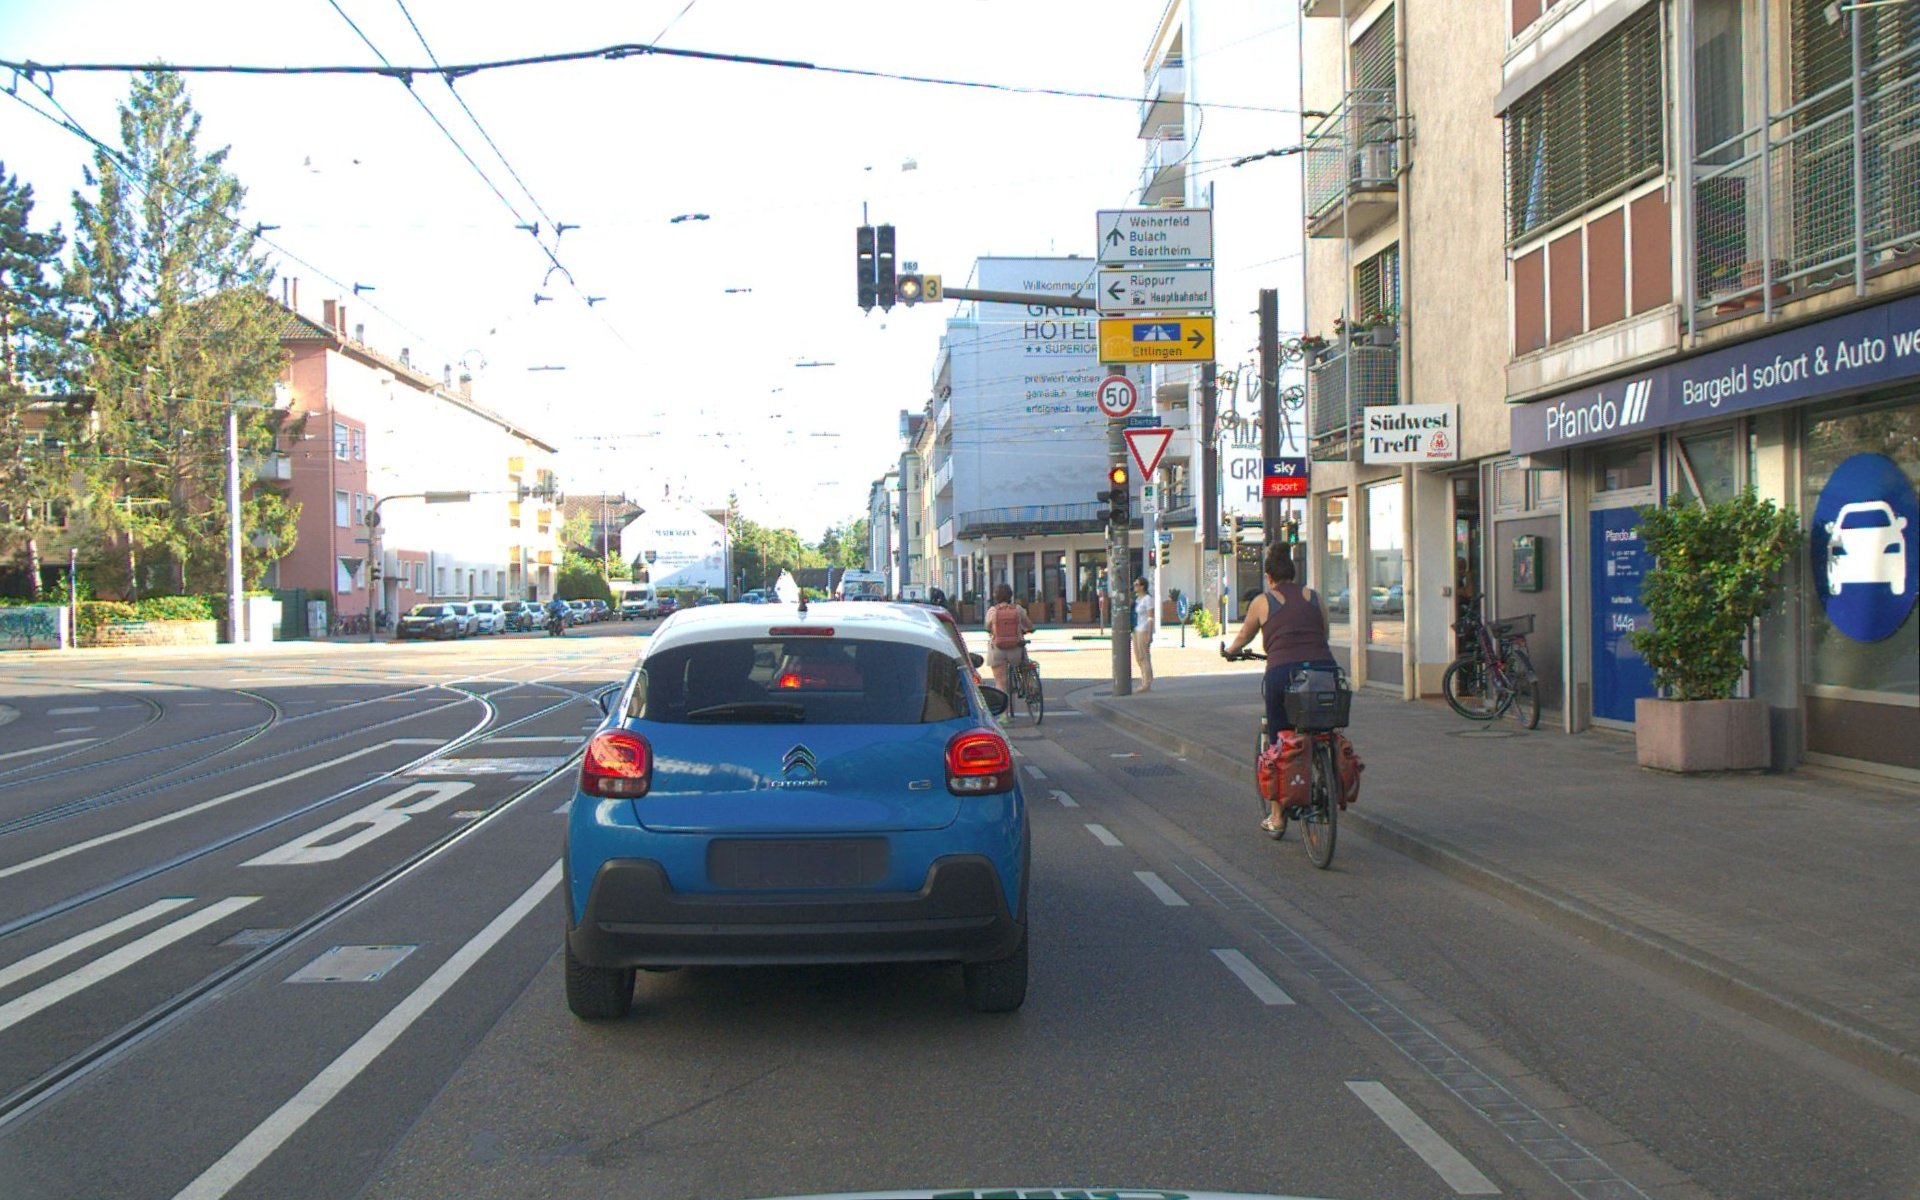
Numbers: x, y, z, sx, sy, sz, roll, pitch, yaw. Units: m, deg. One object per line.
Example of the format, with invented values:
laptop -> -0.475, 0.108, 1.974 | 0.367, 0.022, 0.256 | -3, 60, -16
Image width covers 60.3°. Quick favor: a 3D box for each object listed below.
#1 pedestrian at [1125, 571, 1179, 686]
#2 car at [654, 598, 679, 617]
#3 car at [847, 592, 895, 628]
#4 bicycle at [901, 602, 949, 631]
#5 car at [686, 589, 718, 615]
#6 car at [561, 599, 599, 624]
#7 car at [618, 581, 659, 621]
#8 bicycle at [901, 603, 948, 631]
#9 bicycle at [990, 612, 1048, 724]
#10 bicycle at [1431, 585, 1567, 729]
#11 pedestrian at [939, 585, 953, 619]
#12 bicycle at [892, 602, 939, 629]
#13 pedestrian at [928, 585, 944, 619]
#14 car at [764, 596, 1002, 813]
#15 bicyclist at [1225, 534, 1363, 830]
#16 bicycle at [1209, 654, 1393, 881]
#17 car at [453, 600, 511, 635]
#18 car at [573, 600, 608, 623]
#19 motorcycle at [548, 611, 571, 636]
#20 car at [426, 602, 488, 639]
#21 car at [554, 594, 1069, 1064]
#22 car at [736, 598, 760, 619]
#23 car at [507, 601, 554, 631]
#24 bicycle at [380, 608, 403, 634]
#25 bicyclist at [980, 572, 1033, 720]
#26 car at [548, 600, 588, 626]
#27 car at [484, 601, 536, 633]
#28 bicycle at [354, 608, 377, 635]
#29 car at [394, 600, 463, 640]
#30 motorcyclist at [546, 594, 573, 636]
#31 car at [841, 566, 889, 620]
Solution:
pedestrian -> 2.827, 0.415, 24.402 | 0.735, 1.663, 0.740 | -1, 0, 5
car -> -25.569, 0.654, 144.160 | 1.913, 1.545, 3.995 | -1, 0, -6
car -> -3.673, 0.389, 67.734 | 1.752, 1.383, 3.909 | -1, 0, -6
bicycle -> -1.391, 0.646, 65.773 | 1.868, 1.083, 0.641 | -1, 0, -8
car -> -17.358, 0.138, 111.411 | 1.967, 1.656, 5.045 | -1, 0, -7
car -> -24.846, 0.756, 108.258 | 1.913, 1.545, 3.995 | -1, 0, -6
car -> -23.219, 0.076, 119.572 | 2.446, 2.759, 5.828 | -1, 0, -7
bicycle -> -1.443, 0.671, 67.078 | 1.868, 1.083, 0.641 | -1, 0, -8
bicycle -> 0.722, 0.816, 20.630 | 0.601, 1.287, 1.910 | -1, 0, -1
bicycle -> 5.114, 0.507, 15.813 | 0.627, 1.287, 1.910 | -1, 0, -1
pedestrian -> -0.582, 0.091, 69.987 | 0.459, 1.445, 0.525 | -1, 0, -13
bicycle -> -1.858, 0.648, 68.265 | 1.868, 1.083, 0.641 | -1, 0, -8
pedestrian -> -1.007, 0.096, 70.232 | 0.514, 1.445, 0.547 | -1, 0, 19
car -> -0.678, 0.727, 13.553 | 1.647, 1.488, 3.997 | 1, 0, -4
bicyclist -> 1.946, 0.462, 9.717 | 0.604, 1.658, 0.759 | -1, 0, -3
bicycle -> 1.956, 0.920, 9.734 | 0.604, 1.123, 1.885 | -1, 0, -3
car -> -22.753, 0.824, 78.856 | 1.913, 1.545, 3.995 | -1, 0, -6
car -> -25.562, 0.796, 114.588 | 1.913, 1.545, 3.995 | -1, 0, -6
motorcycle -> -16.223, 0.943, 67.015 | 0.738, 0.993, 2.092 | -1, 0, -9
car -> -22.551, 0.880, 74.250 | 1.913, 1.545, 4.040 | -1, 0, -6
car -> -0.612, 0.731, 7.344 | 1.647, 1.488, 3.997 | 1, 0, -4
car -> -21.805, 0.822, 170.487 | 2.293, 2.074, 5.044 | -1, 0, -6
car -> -23.760, 0.861, 91.562 | 1.913, 1.545, 3.995 | -1, 0, -6
bicycle -> -25.669, 0.944, 74.687 | 0.597, 1.101, 1.908 | -1, 0, -7
bicyclist -> 0.569, 0.553, 20.590 | 0.588, 1.776, 1.084 | -1, 0, -1
car -> -24.405, 0.814, 102.984 | 1.913, 1.545, 3.995 | -1, 0, -6
car -> -23.230, 0.844, 85.513 | 1.913, 1.545, 3.995 | -1, 0, -6
bicycle -> -25.871, 0.930, 71.982 | 0.527, 1.101, 1.908 | -1, 0, -7
car -> -22.012, 0.794, 68.645 | 1.913, 1.545, 3.995 | -1, 0, -6
motorcyclist -> -16.203, 0.611, 66.947 | 0.973, 1.659, 0.737 | -1, 0, -10
car -> -4.228, -0.312, 73.172 | 2.039, 2.309, 5.646 | 0, 0, -4
